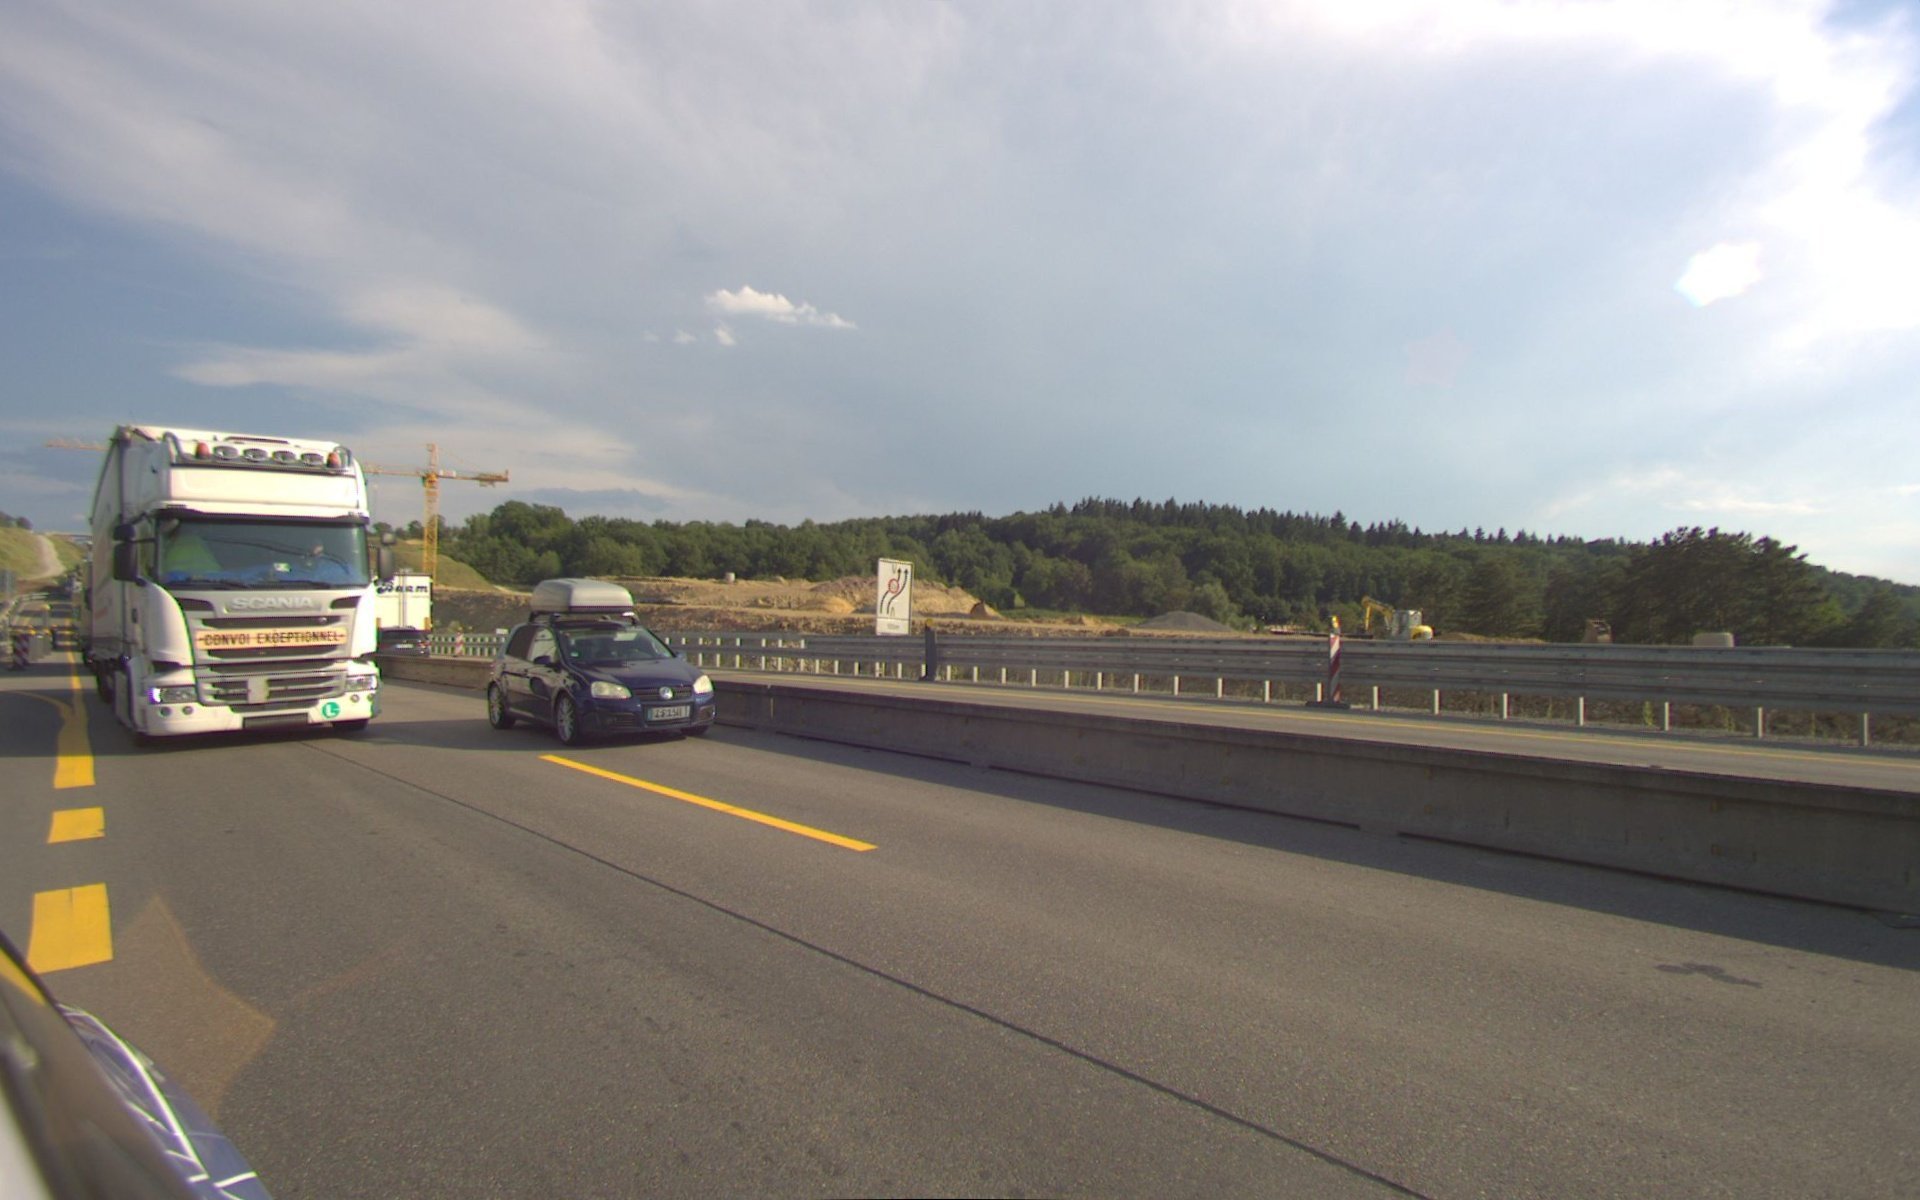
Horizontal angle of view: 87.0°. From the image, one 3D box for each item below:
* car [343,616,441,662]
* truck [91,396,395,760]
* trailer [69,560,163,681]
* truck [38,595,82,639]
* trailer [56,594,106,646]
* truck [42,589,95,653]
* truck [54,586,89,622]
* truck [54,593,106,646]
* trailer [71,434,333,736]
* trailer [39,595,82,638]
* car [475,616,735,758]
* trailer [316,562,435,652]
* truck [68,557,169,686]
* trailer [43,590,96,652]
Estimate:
[{"bbox_3d":[-19.626,1.317,34.905,1.969,1.476,4.542,3,-3,-42],"label":"car"},{"bbox_3d":[-10.015,-0.186,13.878,2.451,3.908,6.016,2,-2,-44],"label":"truck"},{"bbox_3d":[-33.748,0.821,40.285,2.450,4.092,13.650,1,-2,-41],"label":"trailer"},{"bbox_3d":[-92.762,1.763,104.406,3.065,4.347,6.907,3,-3,-40],"label":"truck"},{"bbox_3d":[-80.479,1.857,92.728,3.065,4.347,14.273,3,-3,-41],"label":"trailer"},{"bbox_3d":[-57.655,1.378,65.507,2.450,3.931,6.020,1,-2,-41],"label":"truck"},{"bbox_3d":[-111.651,0.594,127.233,3.065,4.347,6.907,3,-3,-40],"label":"truck"},{"bbox_3d":[-75.215,1.702,86.536,3.065,4.347,6.907,3,-3,-40],"label":"truck"},{"bbox_3d":[-14.703,-0.083,18.914,2.451,3.908,13.645,1,-2,-43],"label":"trailer"},{"bbox_3d":[-97.769,1.873,110.201,3.065,4.347,14.273,3,-3,-41],"label":"trailer"},{"bbox_3d":[-4.587,0.960,12.757,1.798,1.496,3.925,1,-2,-41],"label":"car"},{"bbox_3d":[-30.440,0.474,52.272,2.595,4.097,14.100,3,-3,-41],"label":"trailer"},{"bbox_3d":[-29.207,0.739,35.081,2.450,4.091,6.020,1,-2,-41],"label":"truck"},{"bbox_3d":[-61.949,1.453,70.500,2.450,3.989,13.996,1,-2,-41],"label":"trailer"}]
